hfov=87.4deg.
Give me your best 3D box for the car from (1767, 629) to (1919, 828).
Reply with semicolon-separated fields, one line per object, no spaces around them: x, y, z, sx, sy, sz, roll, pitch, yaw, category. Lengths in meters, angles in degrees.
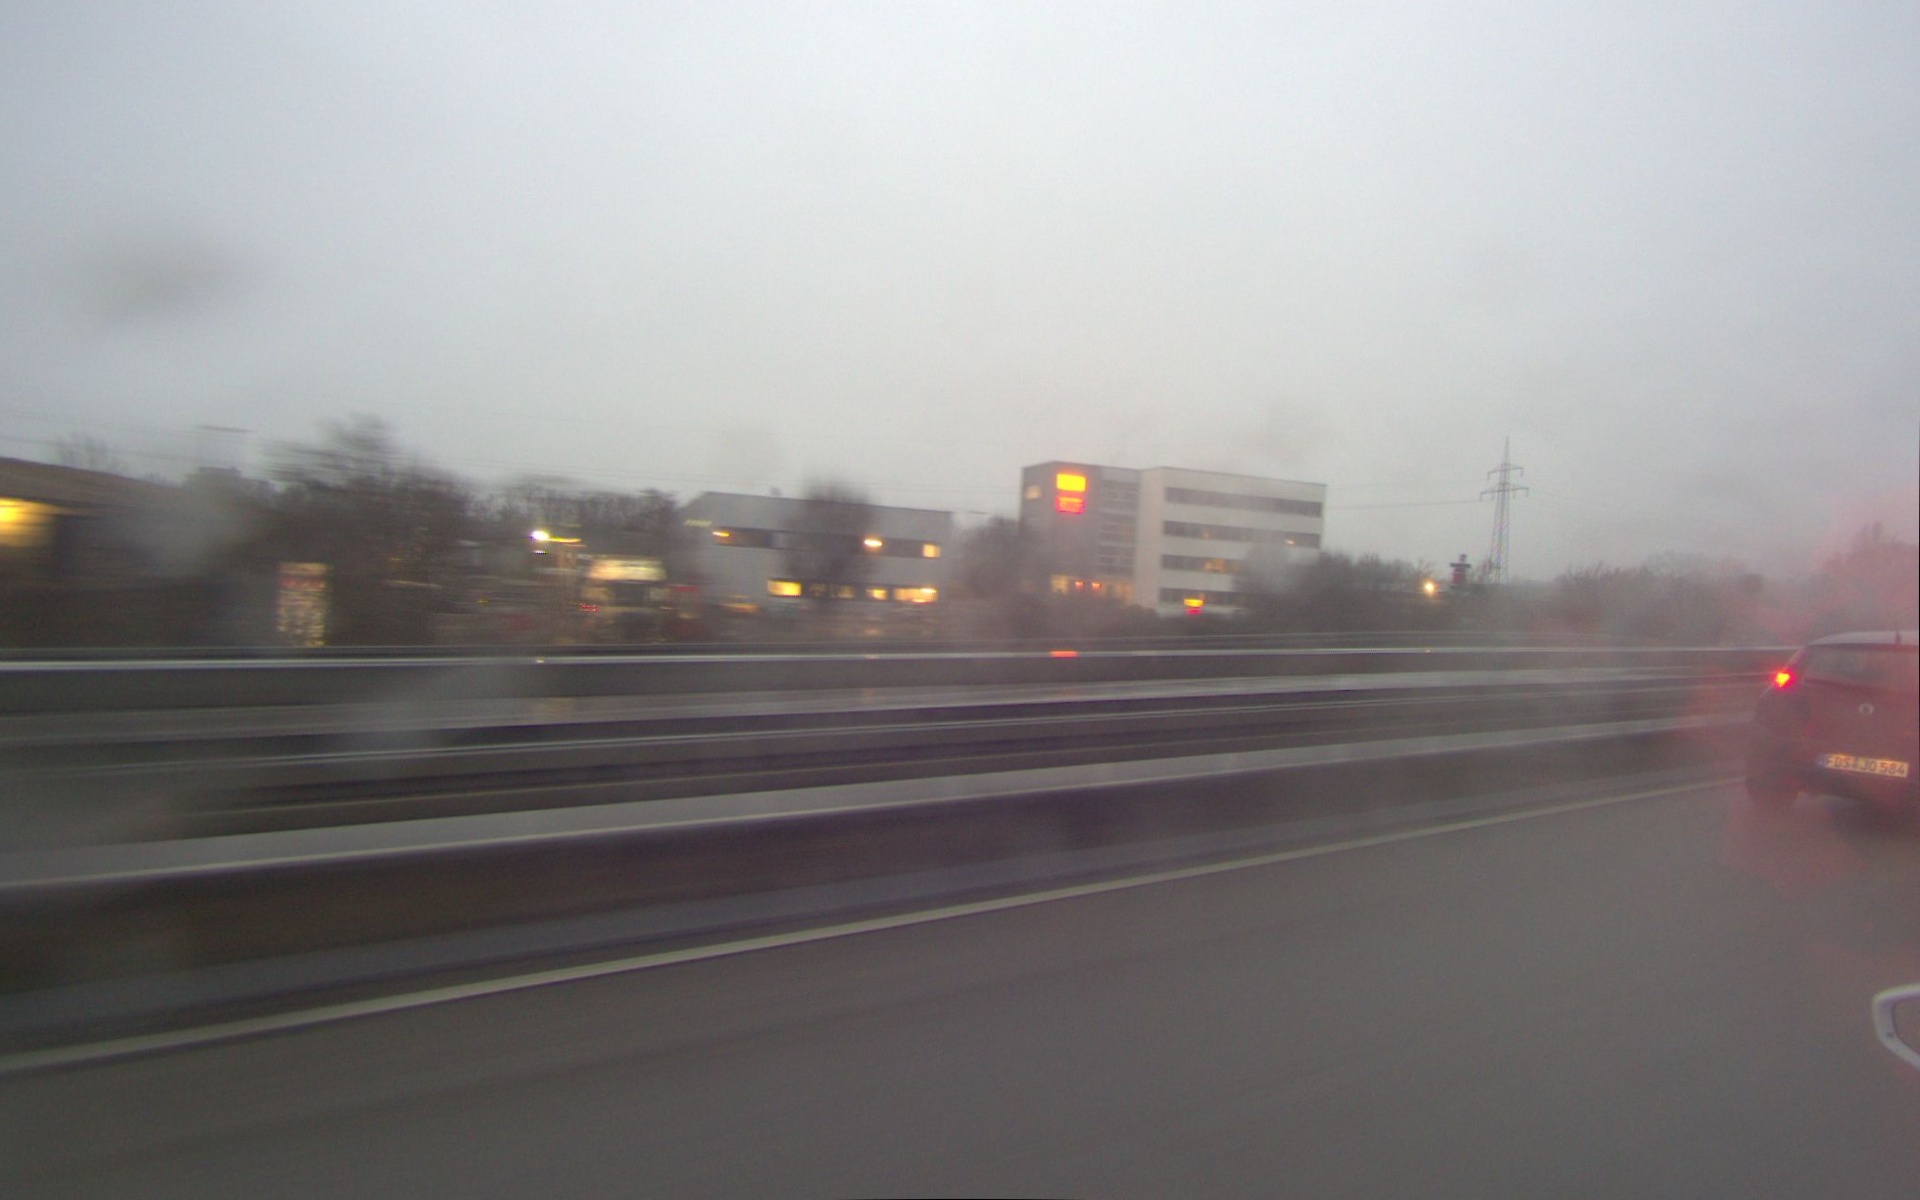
8.478;0.975;8.413;3.959;1.410;1.615;2;-1;-34;car
